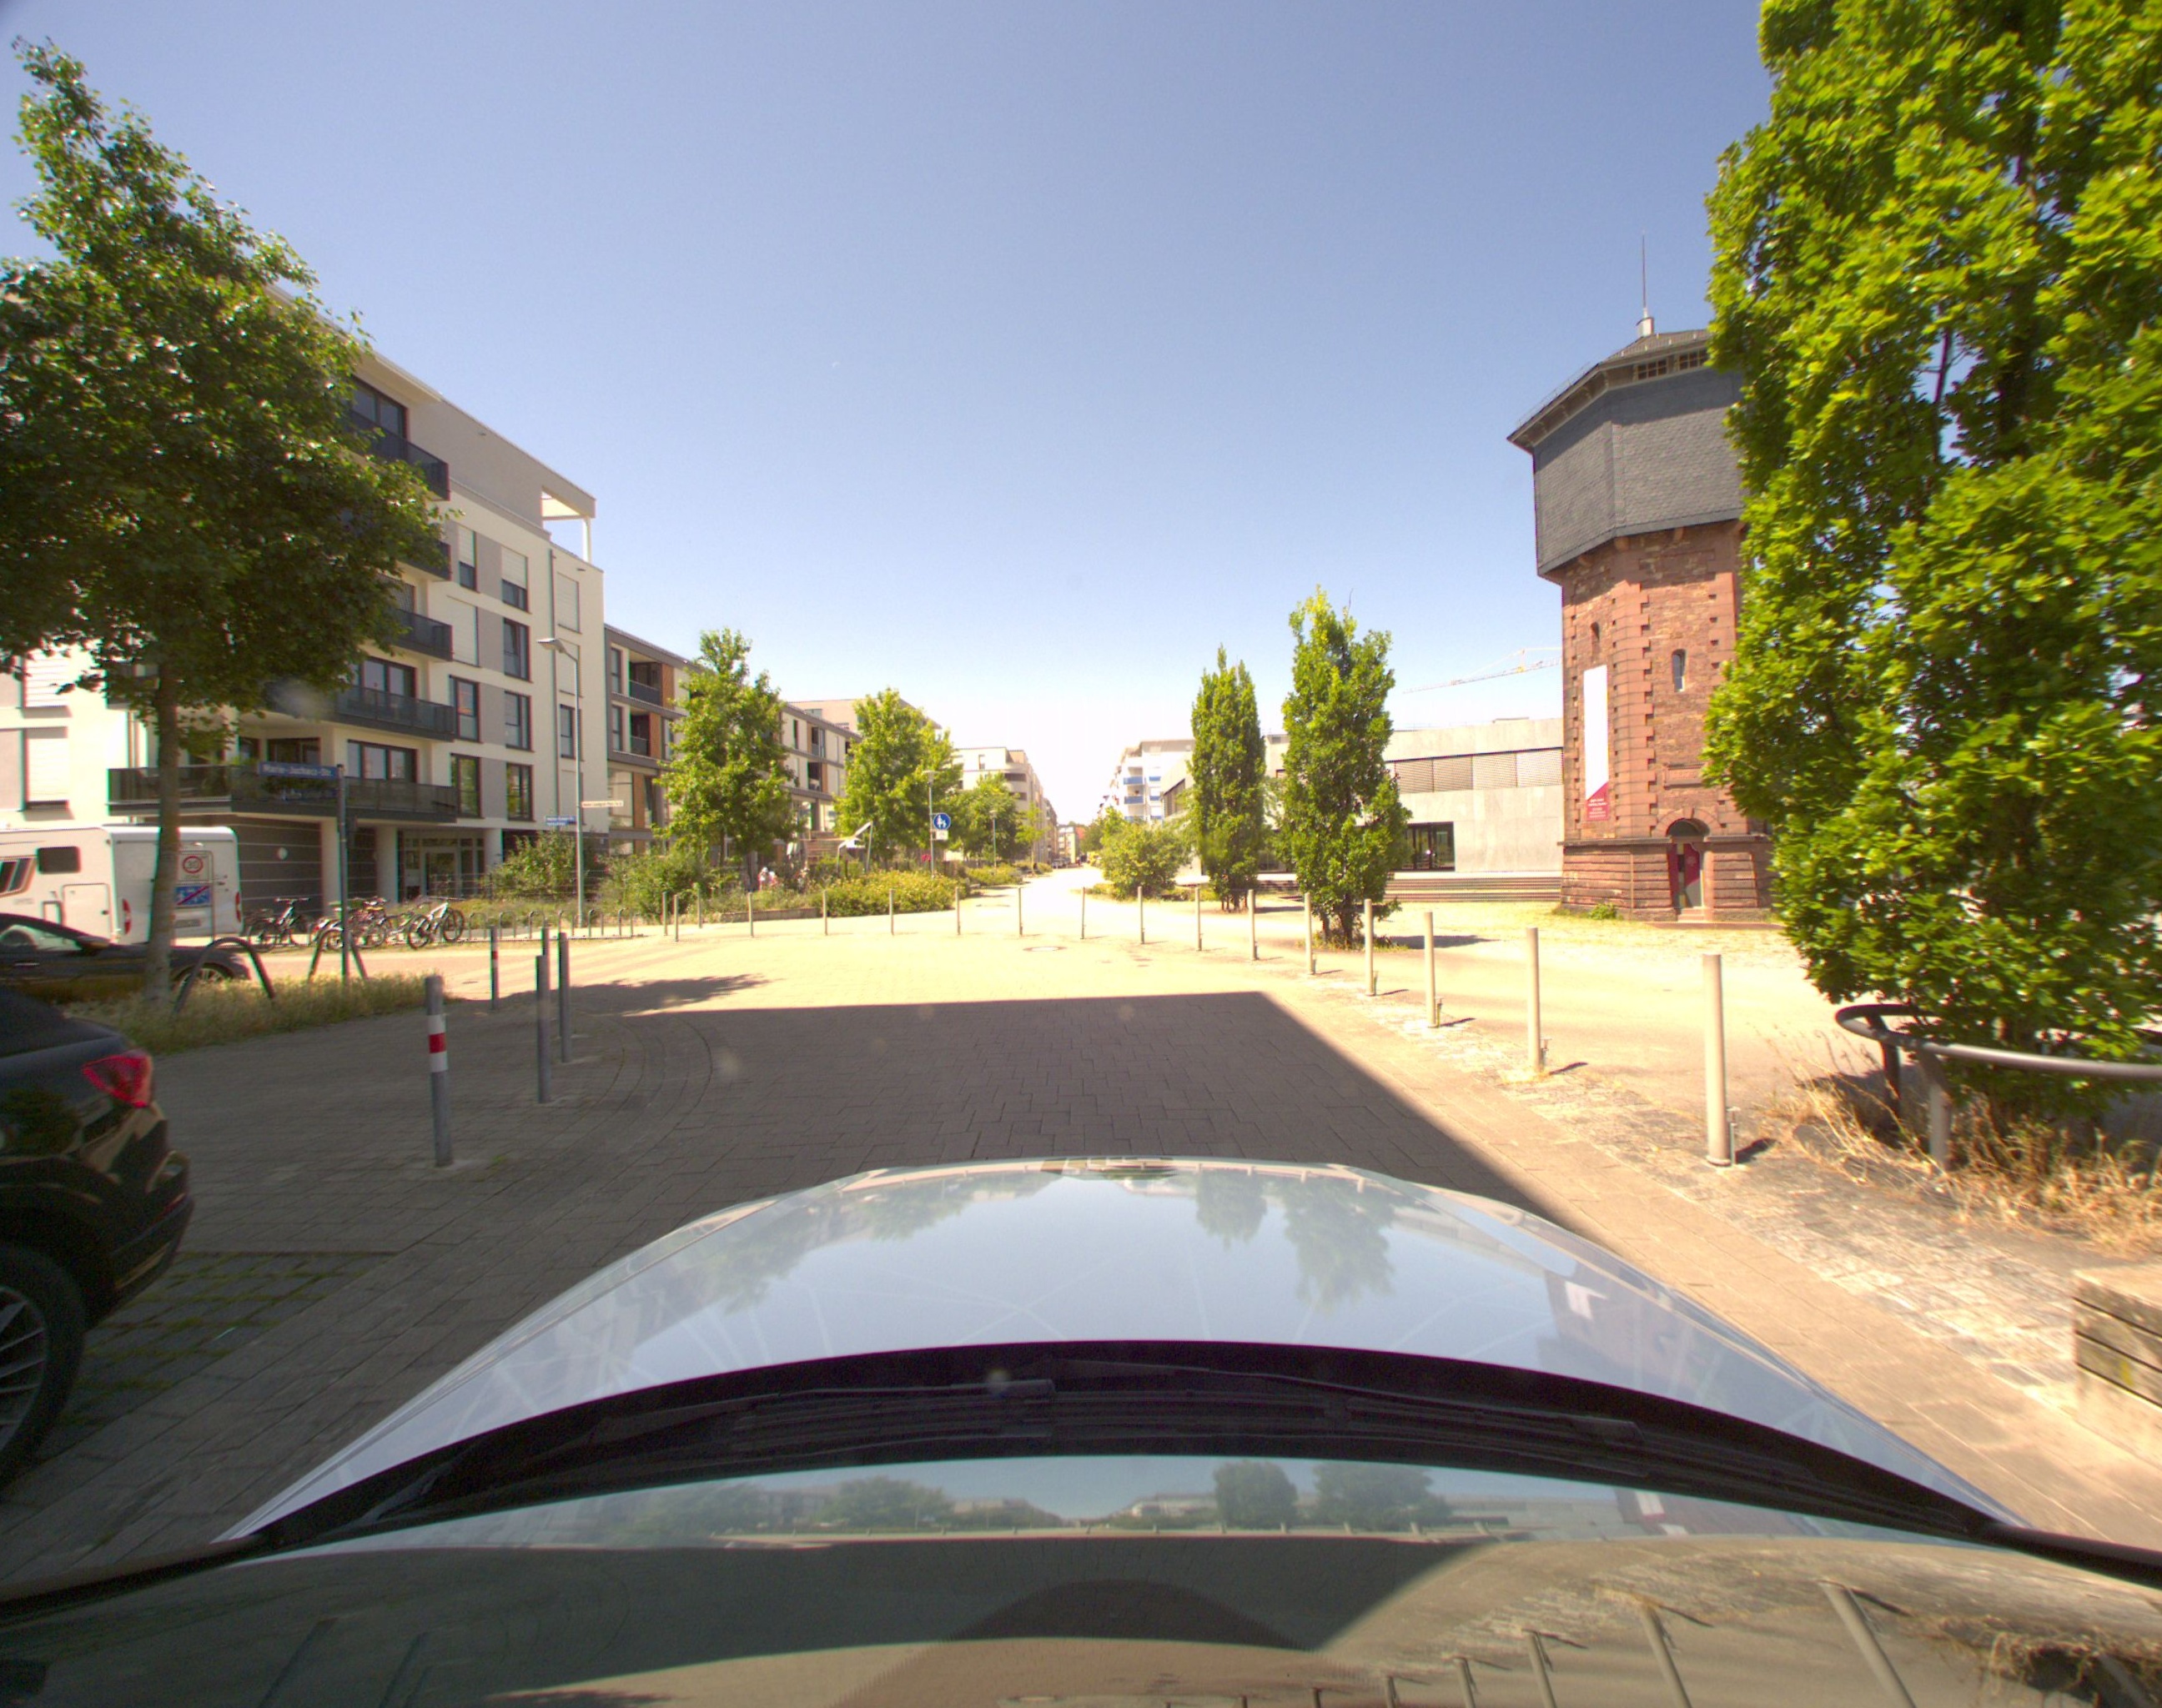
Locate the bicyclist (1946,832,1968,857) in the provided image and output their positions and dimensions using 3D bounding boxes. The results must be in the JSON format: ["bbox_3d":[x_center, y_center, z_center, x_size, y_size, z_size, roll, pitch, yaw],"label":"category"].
[{"bbox_3d":[49.990,-0.542,46.466,0.724,1.435,0.665,-2,-1,38],"label":"bicyclist"}]

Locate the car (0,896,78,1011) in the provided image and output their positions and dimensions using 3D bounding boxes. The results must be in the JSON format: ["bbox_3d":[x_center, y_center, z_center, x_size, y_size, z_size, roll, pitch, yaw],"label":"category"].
[{"bbox_3d":[-14.621,1.231,8.663,1.815,1.449,4.835,-3,-2,2],"label":"car"}]

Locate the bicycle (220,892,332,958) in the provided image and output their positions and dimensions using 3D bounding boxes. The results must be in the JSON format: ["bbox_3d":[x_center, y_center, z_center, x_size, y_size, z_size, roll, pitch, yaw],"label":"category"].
[{"bbox_3d":[-17.822,1.545,18.099,0.824,1.222,1.914,-1,2,-12],"label":"bicycle"}]

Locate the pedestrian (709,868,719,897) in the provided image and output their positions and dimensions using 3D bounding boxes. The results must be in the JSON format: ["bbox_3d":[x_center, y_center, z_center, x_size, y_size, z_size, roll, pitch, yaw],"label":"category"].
[{"bbox_3d":[-21.669,1.671,48.094,0.395,1.691,0.462,-1,-1,-7],"label":"pedestrian"}]

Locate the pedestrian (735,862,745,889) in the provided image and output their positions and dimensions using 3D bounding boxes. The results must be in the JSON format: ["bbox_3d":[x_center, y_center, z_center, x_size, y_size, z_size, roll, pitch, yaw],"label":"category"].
[{"bbox_3d":[-19.484,1.226,46.524,0.398,1.508,0.457,0,-2,-38],"label":"pedestrian"}]

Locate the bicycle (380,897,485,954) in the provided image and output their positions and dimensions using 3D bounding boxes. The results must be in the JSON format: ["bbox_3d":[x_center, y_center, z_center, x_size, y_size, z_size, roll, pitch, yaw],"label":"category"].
[{"bbox_3d":[-14.218,1.541,17.939,0.872,1.003,2.027,-2,1,-8],"label":"bicycle"}]

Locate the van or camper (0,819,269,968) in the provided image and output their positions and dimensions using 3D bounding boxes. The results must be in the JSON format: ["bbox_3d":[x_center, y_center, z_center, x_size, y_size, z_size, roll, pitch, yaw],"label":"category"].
[{"bbox_3d":[-22.846,0.929,17.828,7.770,2.906,2.448,-3,-1,2],"label":"van or camper"}]

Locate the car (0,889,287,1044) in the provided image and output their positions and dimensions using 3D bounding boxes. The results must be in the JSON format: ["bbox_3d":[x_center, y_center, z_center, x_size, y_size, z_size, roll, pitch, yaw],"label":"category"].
[{"bbox_3d":[-11.989,1.245,8.662,1.914,1.485,5.117,-3,-1,2],"label":"car"}]

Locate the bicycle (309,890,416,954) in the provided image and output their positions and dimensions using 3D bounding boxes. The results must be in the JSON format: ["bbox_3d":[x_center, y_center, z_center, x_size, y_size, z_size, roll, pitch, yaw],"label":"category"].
[{"bbox_3d":[-15.802,1.472,17.981,0.551,1.222,1.859,-2,1,5],"label":"bicycle"}]

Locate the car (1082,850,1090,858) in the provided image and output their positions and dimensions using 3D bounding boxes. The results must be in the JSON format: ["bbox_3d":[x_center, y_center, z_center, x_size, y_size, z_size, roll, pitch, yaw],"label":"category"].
[{"bbox_3d":[1.362,0.094,225.040,1.987,2.014,3.998,-2,-1,-1],"label":"car"}]

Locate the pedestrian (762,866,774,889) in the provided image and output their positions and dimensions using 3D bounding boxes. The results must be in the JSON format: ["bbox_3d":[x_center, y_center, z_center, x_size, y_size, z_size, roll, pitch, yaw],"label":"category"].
[{"bbox_3d":[-14.056,1.060,36.542,0.395,1.026,0.411,-1,-2,-7],"label":"pedestrian"}]

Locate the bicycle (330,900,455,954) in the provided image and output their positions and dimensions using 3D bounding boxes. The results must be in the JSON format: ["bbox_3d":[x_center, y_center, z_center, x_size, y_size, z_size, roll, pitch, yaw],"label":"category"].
[{"bbox_3d":[-15.165,1.585,18.013,0.934,0.975,1.868,-2,1,16],"label":"bicycle"}]

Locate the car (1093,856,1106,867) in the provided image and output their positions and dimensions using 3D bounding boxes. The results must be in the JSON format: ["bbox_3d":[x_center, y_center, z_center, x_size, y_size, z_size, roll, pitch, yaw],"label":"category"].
[{"bbox_3d":[3.003,1.177,129.707,1.986,1.609,4.001,-2,-1,2],"label":"car"}]

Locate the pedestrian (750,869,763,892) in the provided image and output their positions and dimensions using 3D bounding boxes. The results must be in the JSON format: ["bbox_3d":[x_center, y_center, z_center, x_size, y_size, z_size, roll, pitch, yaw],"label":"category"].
[{"bbox_3d":[-14.593,1.205,36.602,0.310,1.025,0.414,-3,-2,36],"label":"pedestrian"}]

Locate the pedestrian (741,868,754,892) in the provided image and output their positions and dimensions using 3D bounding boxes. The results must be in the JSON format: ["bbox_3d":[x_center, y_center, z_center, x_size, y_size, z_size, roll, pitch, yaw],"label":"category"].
[{"bbox_3d":[-14.791,1.141,36.080,0.310,1.025,0.414,-3,-2,36],"label":"pedestrian"}]

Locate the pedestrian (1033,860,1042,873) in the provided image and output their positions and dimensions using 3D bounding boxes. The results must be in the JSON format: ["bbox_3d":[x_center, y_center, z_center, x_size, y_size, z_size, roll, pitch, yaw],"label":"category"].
[{"bbox_3d":[-4.362,1.247,81.598,0.844,1.348,0.696,-1,-1,0],"label":"pedestrian"}]

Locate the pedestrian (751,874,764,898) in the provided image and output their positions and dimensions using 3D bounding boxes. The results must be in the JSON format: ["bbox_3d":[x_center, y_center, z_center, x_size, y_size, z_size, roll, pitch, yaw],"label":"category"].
[{"bbox_3d":[-13.672,1.345,34.421,0.279,1.025,0.414,-3,-2,36],"label":"pedestrian"}]

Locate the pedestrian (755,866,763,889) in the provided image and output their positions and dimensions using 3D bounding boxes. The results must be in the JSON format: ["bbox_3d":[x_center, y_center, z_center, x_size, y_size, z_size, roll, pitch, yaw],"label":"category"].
[{"bbox_3d":[-14.921,1.096,37.768,0.322,1.053,0.288,-1,-1,-19],"label":"pedestrian"}]

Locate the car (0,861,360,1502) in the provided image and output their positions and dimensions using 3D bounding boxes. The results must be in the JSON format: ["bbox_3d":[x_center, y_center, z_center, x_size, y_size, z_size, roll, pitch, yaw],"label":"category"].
[{"bbox_3d":[-3.425,0.780,0.692,1.769,1.519,4.394,0,0,-2],"label":"car"}]

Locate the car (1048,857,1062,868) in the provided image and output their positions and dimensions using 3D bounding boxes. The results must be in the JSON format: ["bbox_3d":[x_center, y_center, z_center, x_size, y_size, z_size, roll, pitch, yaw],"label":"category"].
[{"bbox_3d":[-4.372,1.443,138.263,2.138,1.652,4.089,-2,-1,1],"label":"car"}]

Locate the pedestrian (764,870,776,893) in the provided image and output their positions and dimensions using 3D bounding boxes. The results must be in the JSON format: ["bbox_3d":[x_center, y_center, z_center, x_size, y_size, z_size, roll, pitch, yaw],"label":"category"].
[{"bbox_3d":[-13.263,1.189,34.741,0.383,0.971,0.291,-2,-1,15],"label":"pedestrian"}]

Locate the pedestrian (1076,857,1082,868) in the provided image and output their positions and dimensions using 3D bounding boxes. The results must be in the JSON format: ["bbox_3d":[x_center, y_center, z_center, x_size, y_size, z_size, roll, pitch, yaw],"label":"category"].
[{"bbox_3d":[-0.300,1.230,119.870,0.692,1.529,0.599,-2,0,2],"label":"pedestrian"}]

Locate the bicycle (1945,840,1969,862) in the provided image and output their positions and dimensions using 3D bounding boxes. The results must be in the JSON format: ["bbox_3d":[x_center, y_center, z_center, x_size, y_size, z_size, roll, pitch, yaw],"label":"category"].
[{"bbox_3d":[49.901,-0.157,46.394,0.583,1.199,1.954,-2,-1,38],"label":"bicycle"}]

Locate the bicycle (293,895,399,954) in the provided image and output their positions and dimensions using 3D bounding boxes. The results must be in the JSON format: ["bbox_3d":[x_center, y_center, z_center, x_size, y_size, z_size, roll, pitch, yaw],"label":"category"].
[{"bbox_3d":[-16.174,1.535,17.995,0.472,1.110,1.892,-2,0,5],"label":"bicycle"}]
